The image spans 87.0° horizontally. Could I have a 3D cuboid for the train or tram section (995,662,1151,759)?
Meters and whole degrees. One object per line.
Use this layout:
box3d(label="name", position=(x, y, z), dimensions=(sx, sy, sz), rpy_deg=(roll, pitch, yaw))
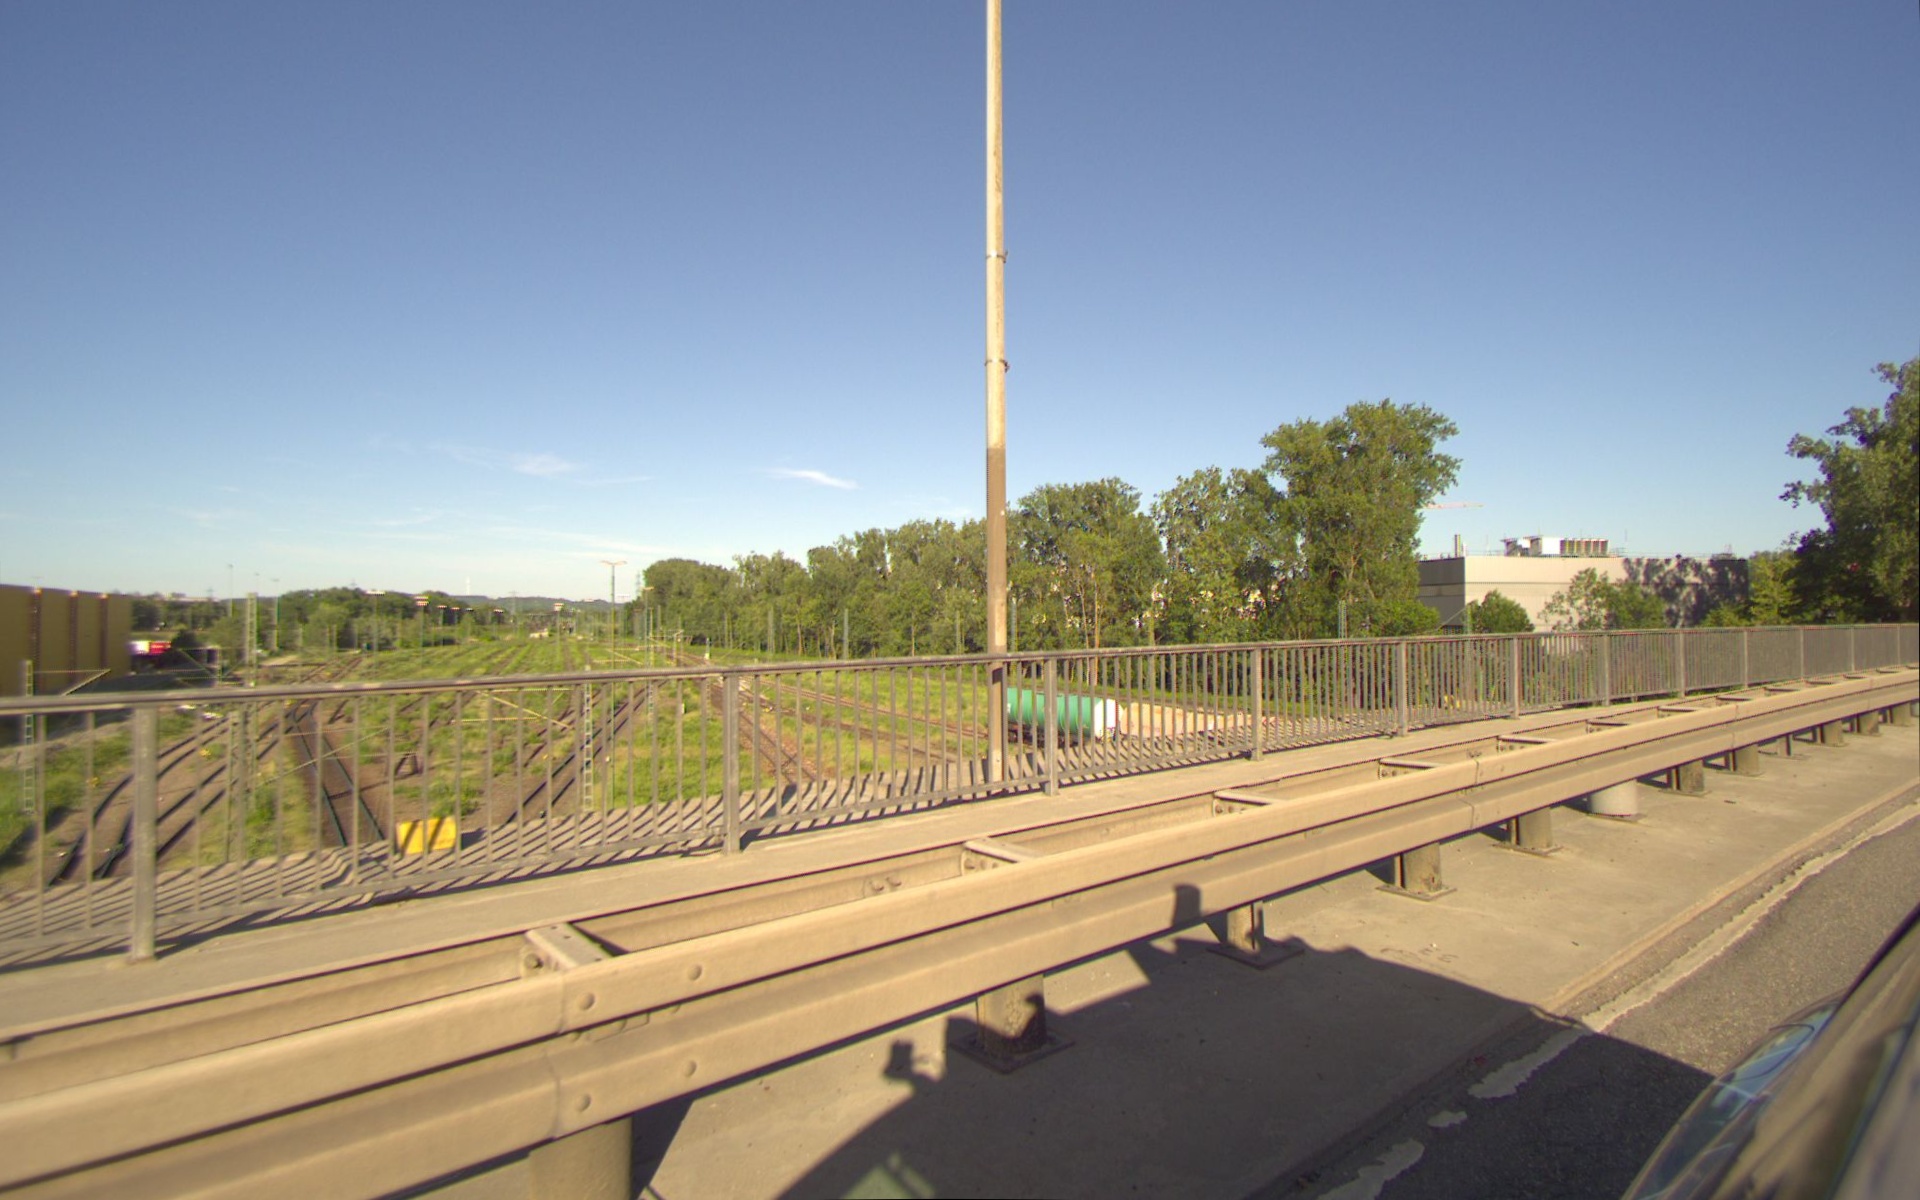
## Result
box3d(label="train or tram section", position=(7.868, 7.798, 74.717), dimensions=(3.269, 5.248, 15.200), rpy_deg=(0, 1, -29))

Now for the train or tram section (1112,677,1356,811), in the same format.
box3d(label="train or tram section", position=(15.590, 8.089, 60.578), dimensions=(3.269, 5.327, 16.905), rpy_deg=(0, 1, -29))
